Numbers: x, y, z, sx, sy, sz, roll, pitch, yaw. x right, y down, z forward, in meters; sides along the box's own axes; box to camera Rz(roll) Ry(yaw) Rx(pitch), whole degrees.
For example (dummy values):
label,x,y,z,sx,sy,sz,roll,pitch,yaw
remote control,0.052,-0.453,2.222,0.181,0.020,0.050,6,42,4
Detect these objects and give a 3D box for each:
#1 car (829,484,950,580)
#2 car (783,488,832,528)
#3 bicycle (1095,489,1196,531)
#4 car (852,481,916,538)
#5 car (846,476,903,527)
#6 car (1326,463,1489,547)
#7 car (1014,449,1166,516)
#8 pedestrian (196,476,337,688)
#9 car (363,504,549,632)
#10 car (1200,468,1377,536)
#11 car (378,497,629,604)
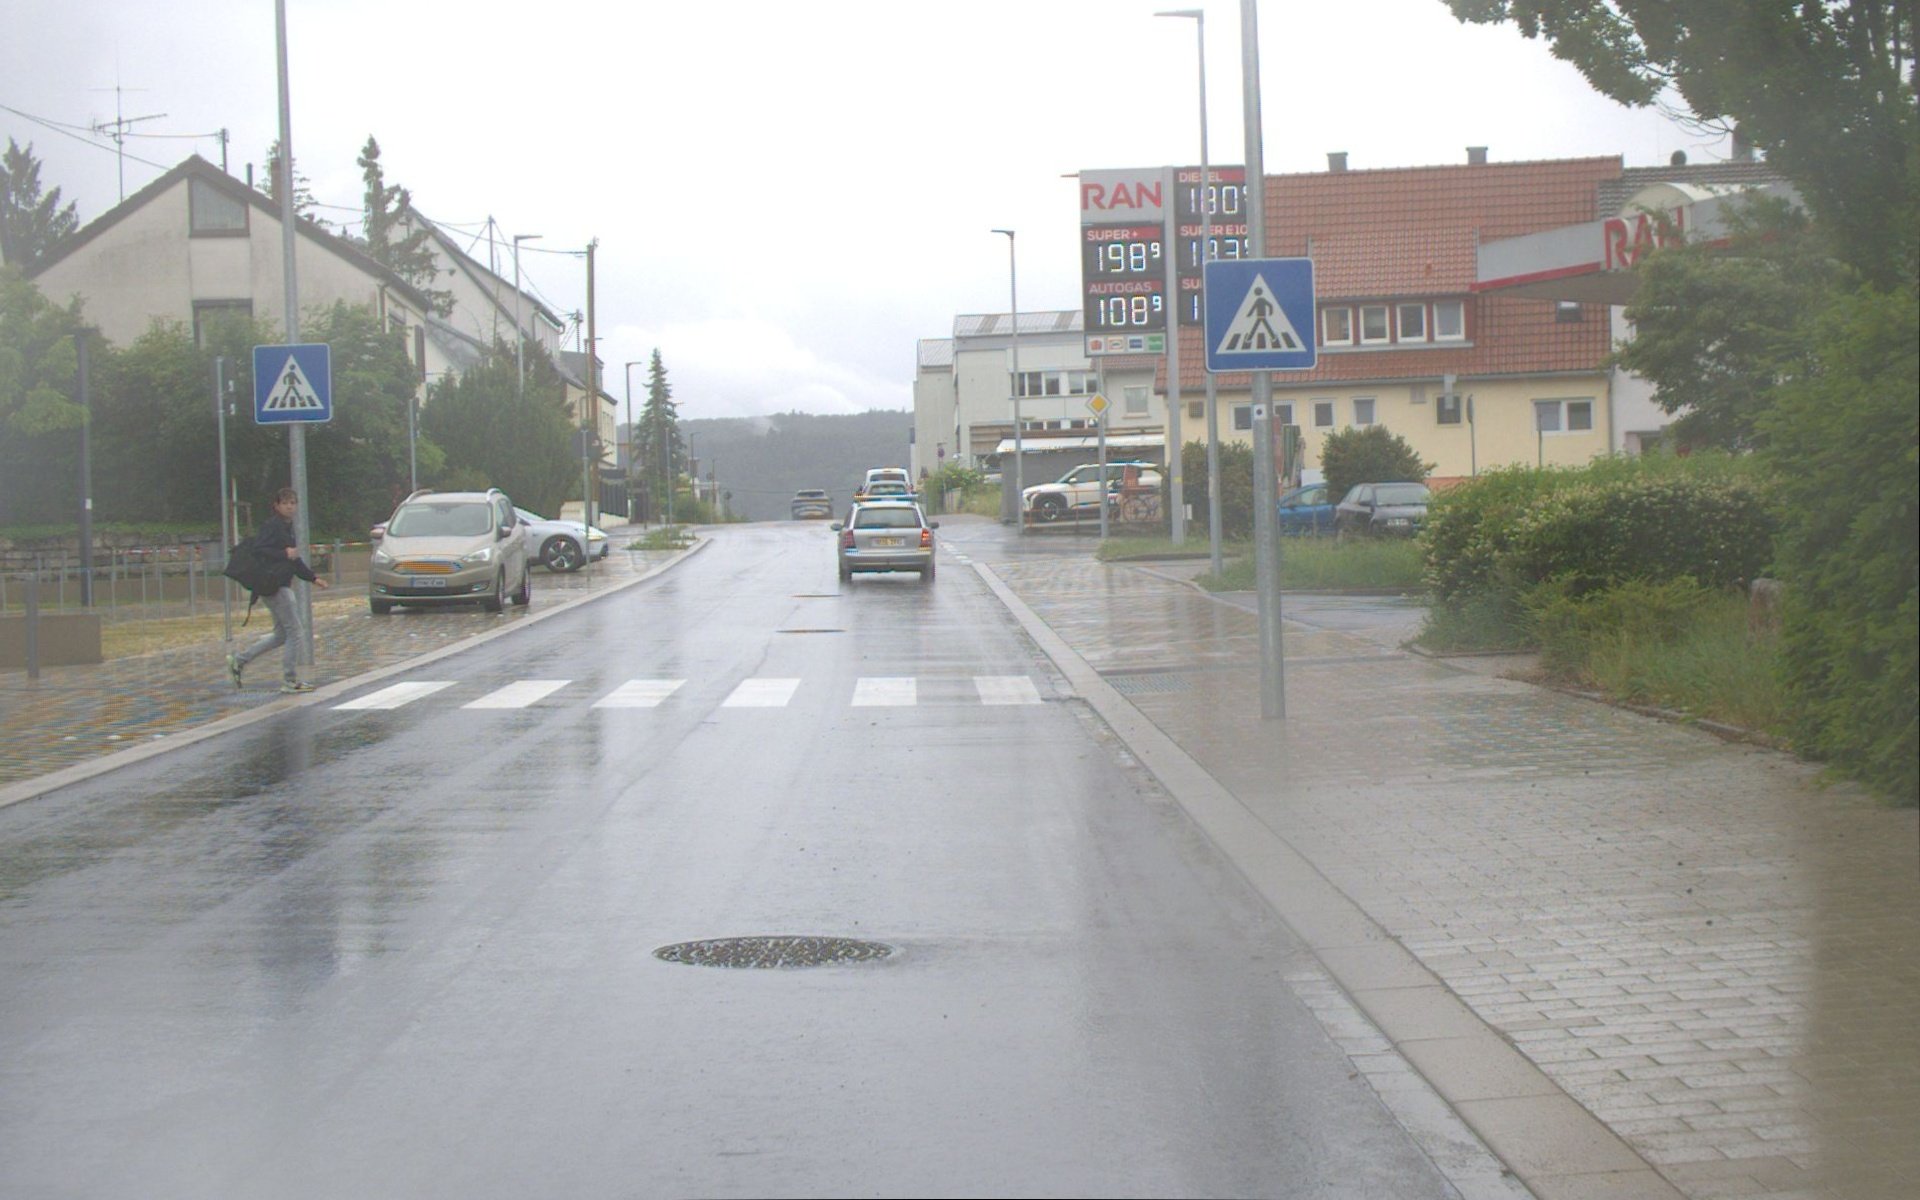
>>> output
label,x,y,z,sx,sy,sz,roll,pitch,yaw
car,-1.297,-1.184,61.290,1.948,1.550,4.000,2,0,-3
car,-7.184,-4.321,162.047,2.154,1.700,4.000,2,0,-1
bicycle,4.891,-2.363,91.095,0.668,1.063,3.629,2,0,-32
car,-2.495,-2.977,113.433,1.993,1.700,4.000,2,0,-1
car,-3.134,-3.610,126.610,1.993,1.700,4.000,2,0,-1
car,9.048,-1.904,69.800,1.993,1.547,4.001,2,0,-12
car,3.670,-3.322,97.686,4.112,1.700,1.789,2,0,-4
pedestrian,-5.745,-0.157,28.513,1.013,1.718,0.772,-1,2,-3
car,-6.988,-0.482,48.034,1.993,1.623,4.154,-2,2,-1
car,7.996,-2.388,83.649,3.990,1.488,1.856,2,0,16
car,-9.323,-1.003,70.522,4.753,2.007,2.000,2,0,3
